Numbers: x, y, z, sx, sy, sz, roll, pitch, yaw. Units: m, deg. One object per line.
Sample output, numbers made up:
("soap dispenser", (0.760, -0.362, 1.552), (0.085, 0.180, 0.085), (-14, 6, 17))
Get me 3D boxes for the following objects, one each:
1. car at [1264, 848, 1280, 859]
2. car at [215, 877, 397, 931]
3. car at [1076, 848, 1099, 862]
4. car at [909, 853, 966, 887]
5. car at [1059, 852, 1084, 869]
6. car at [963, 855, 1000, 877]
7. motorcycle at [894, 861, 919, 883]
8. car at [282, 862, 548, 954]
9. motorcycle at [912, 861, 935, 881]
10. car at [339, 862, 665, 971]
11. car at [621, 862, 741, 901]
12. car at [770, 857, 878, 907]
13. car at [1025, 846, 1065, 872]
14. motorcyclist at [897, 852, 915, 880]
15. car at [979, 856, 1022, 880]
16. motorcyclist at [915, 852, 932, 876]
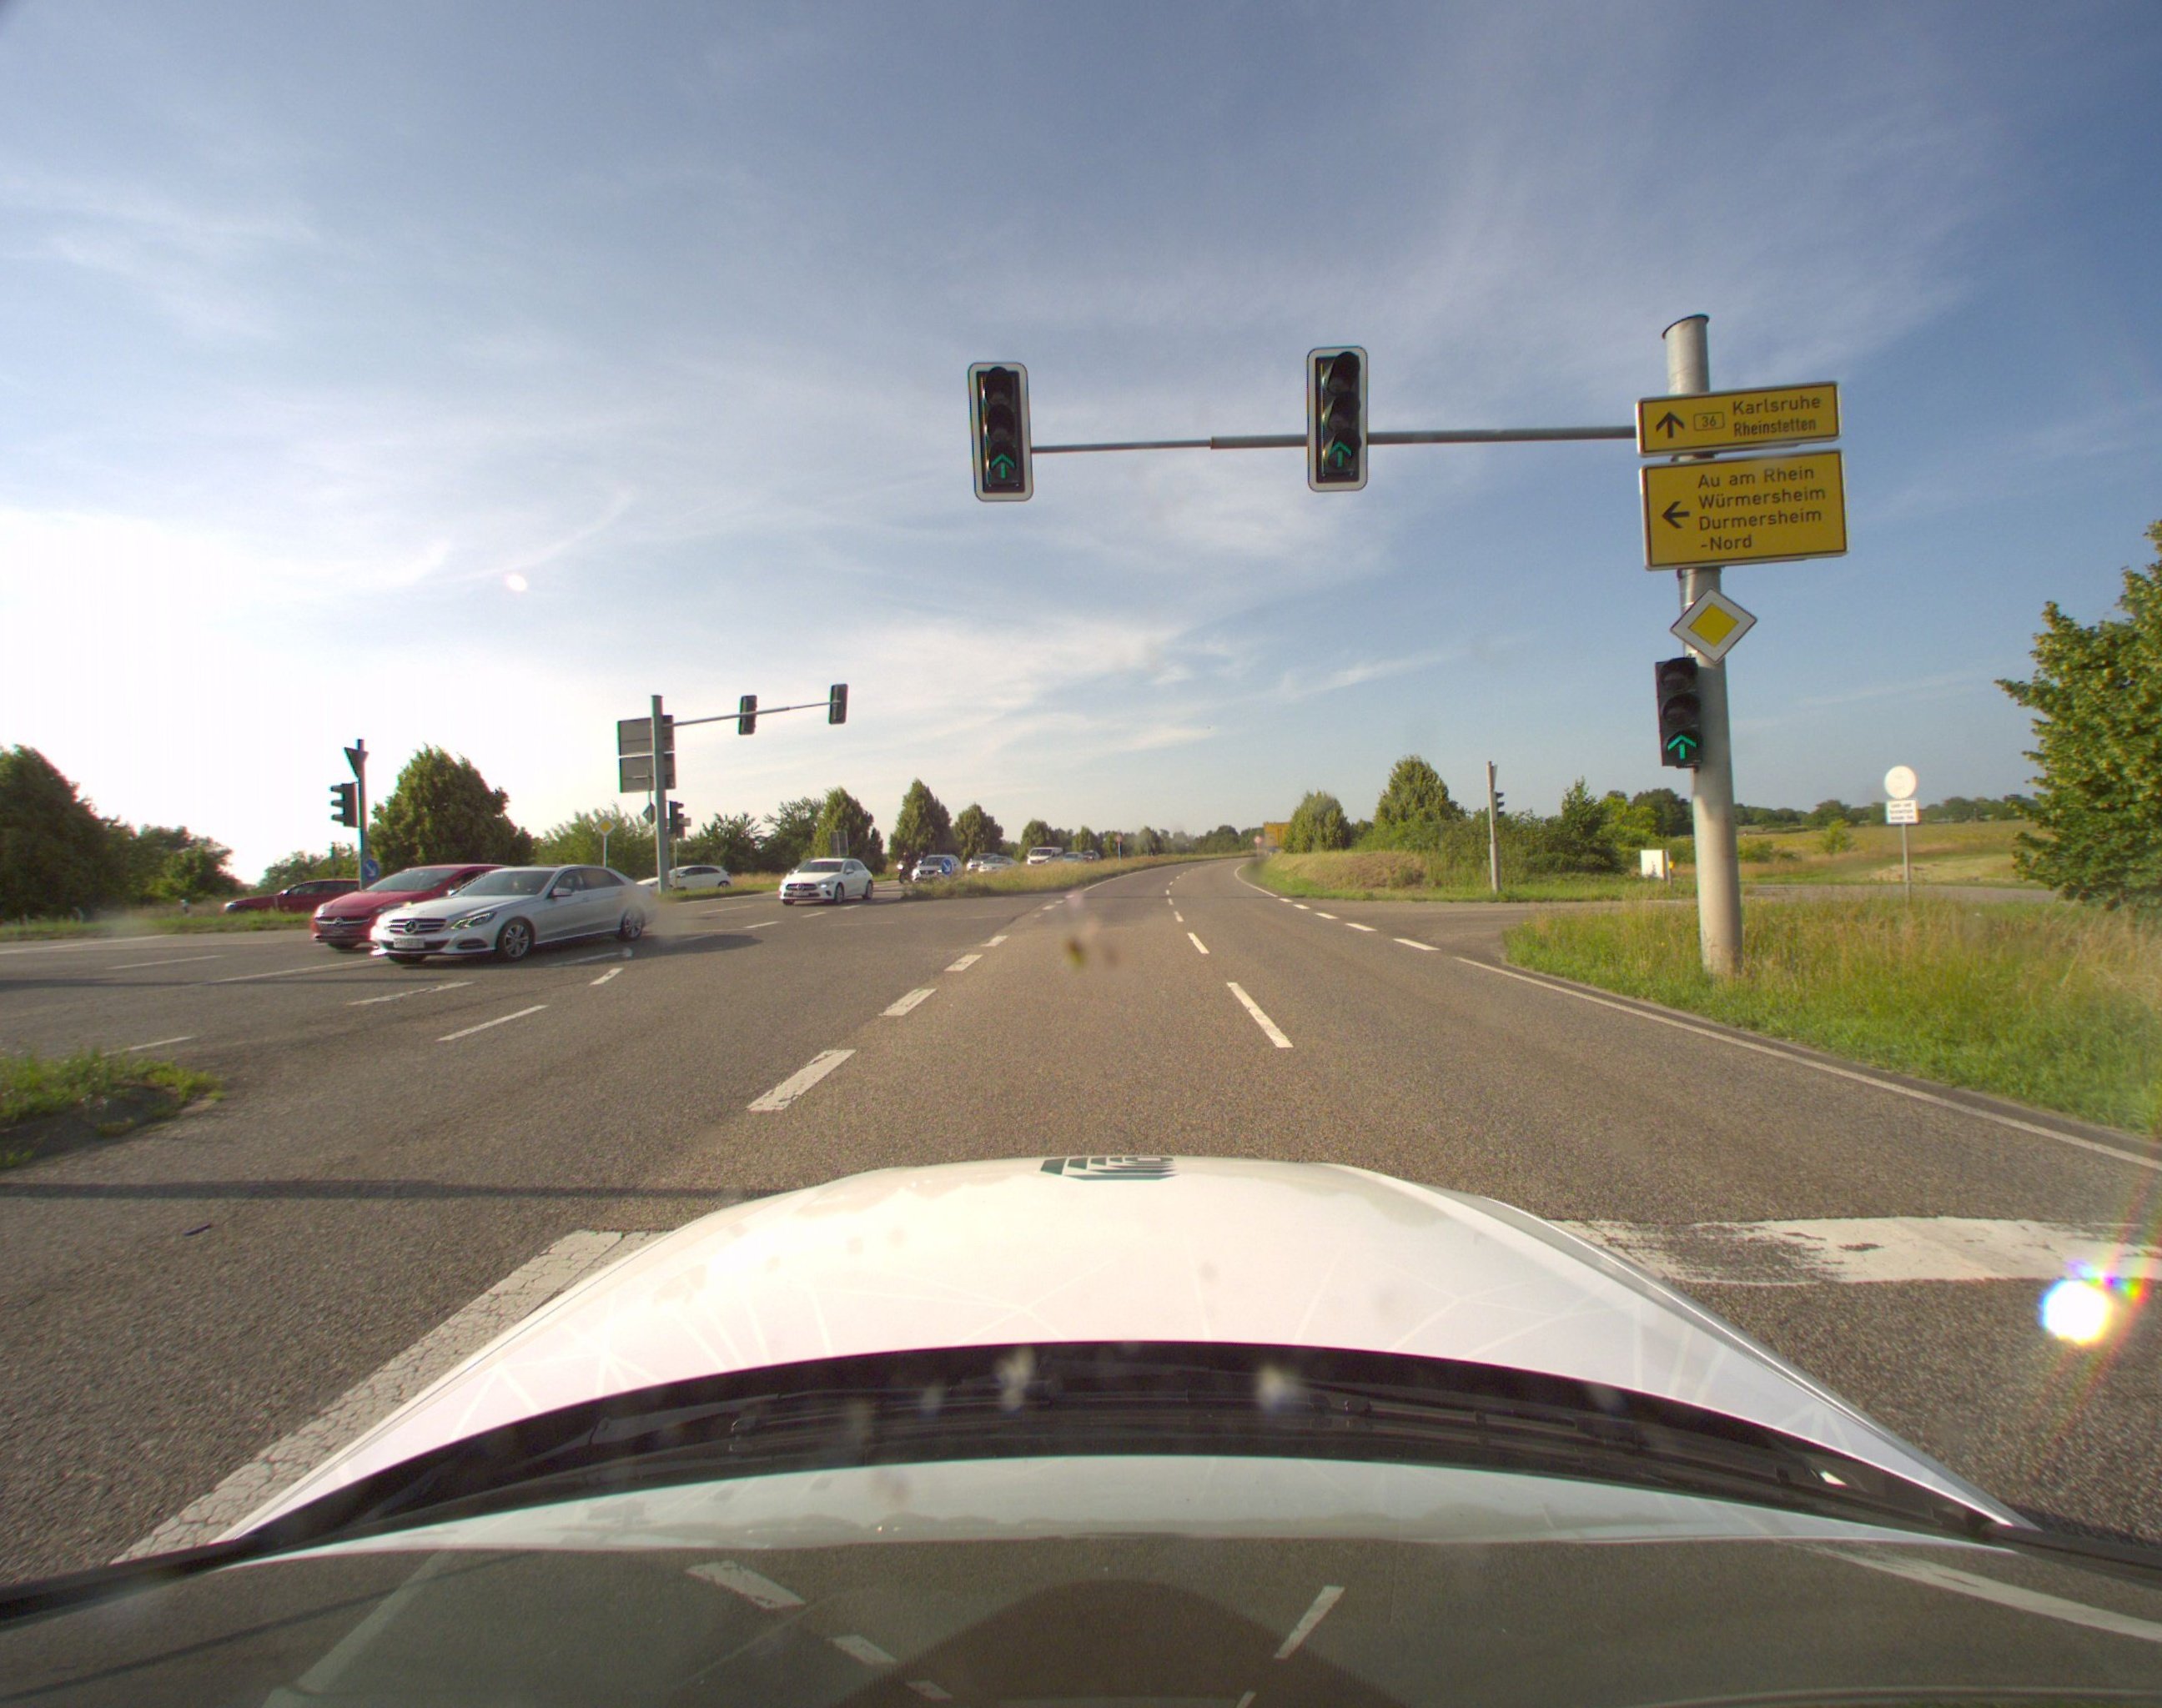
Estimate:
("car", (29.495, -0.106, 125.666), (1.726, 1.520, 3.853), (-2, 0, 22))
("car", (-26.486, 1.651, 28.045), (4.142, 1.587, 1.908), (-1, 0, -29))
("car", (0.789, 0.102, 94.310), (1.900, 1.565, 4.625), (-1, 0, 11))
("car", (-6.814, 0.715, 39.078), (1.678, 1.523, 4.098), (-1, 0, 5))
("car", (-0.820, 0.535, 73.166), (1.668, 1.443, 3.762), (-1, 0, 9))
("car", (-7.353, 0.873, 60.505), (1.696, 1.525, 4.143), (-1, 0, 7))
("motorcycle", (-9.527, 0.985, 44.544), (0.698, 1.138, 2.280), (-1, 0, 5))
("car", (-12.416, 0.919, 15.580), (1.654, 1.467, 4.025), (-2, 0, 2))
("motorcycle", (-9.579, 0.998, 49.641), (0.703, 1.158, 2.028), (-1, 0, 8))
("car", (-9.294, 0.905, 13.724), (1.919, 1.435, 4.705), (-2, 0, 3))
("car", (-17.876, 1.183, 36.622), (1.928, 1.535, 4.475), (-2, 0, 32))
("car", (-8.260, 0.853, 26.600), (1.721, 1.413, 4.402), (-1, 0, 6))
("car", (-2.772, 0.375, 64.098), (1.982, 1.903, 5.802), (-1, 0, 8))
("motorcyclist", (-9.540, 0.659, 44.533), (0.694, 1.503, 0.897), (-2, 0, 4))
("car", (-4.982, 0.847, 50.743), (1.685, 1.353, 4.462), (-1, 0, 7))
("motorcyclist", (-9.583, 0.609, 49.584), (0.700, 1.465, 1.022), (-1, 0, 8))
